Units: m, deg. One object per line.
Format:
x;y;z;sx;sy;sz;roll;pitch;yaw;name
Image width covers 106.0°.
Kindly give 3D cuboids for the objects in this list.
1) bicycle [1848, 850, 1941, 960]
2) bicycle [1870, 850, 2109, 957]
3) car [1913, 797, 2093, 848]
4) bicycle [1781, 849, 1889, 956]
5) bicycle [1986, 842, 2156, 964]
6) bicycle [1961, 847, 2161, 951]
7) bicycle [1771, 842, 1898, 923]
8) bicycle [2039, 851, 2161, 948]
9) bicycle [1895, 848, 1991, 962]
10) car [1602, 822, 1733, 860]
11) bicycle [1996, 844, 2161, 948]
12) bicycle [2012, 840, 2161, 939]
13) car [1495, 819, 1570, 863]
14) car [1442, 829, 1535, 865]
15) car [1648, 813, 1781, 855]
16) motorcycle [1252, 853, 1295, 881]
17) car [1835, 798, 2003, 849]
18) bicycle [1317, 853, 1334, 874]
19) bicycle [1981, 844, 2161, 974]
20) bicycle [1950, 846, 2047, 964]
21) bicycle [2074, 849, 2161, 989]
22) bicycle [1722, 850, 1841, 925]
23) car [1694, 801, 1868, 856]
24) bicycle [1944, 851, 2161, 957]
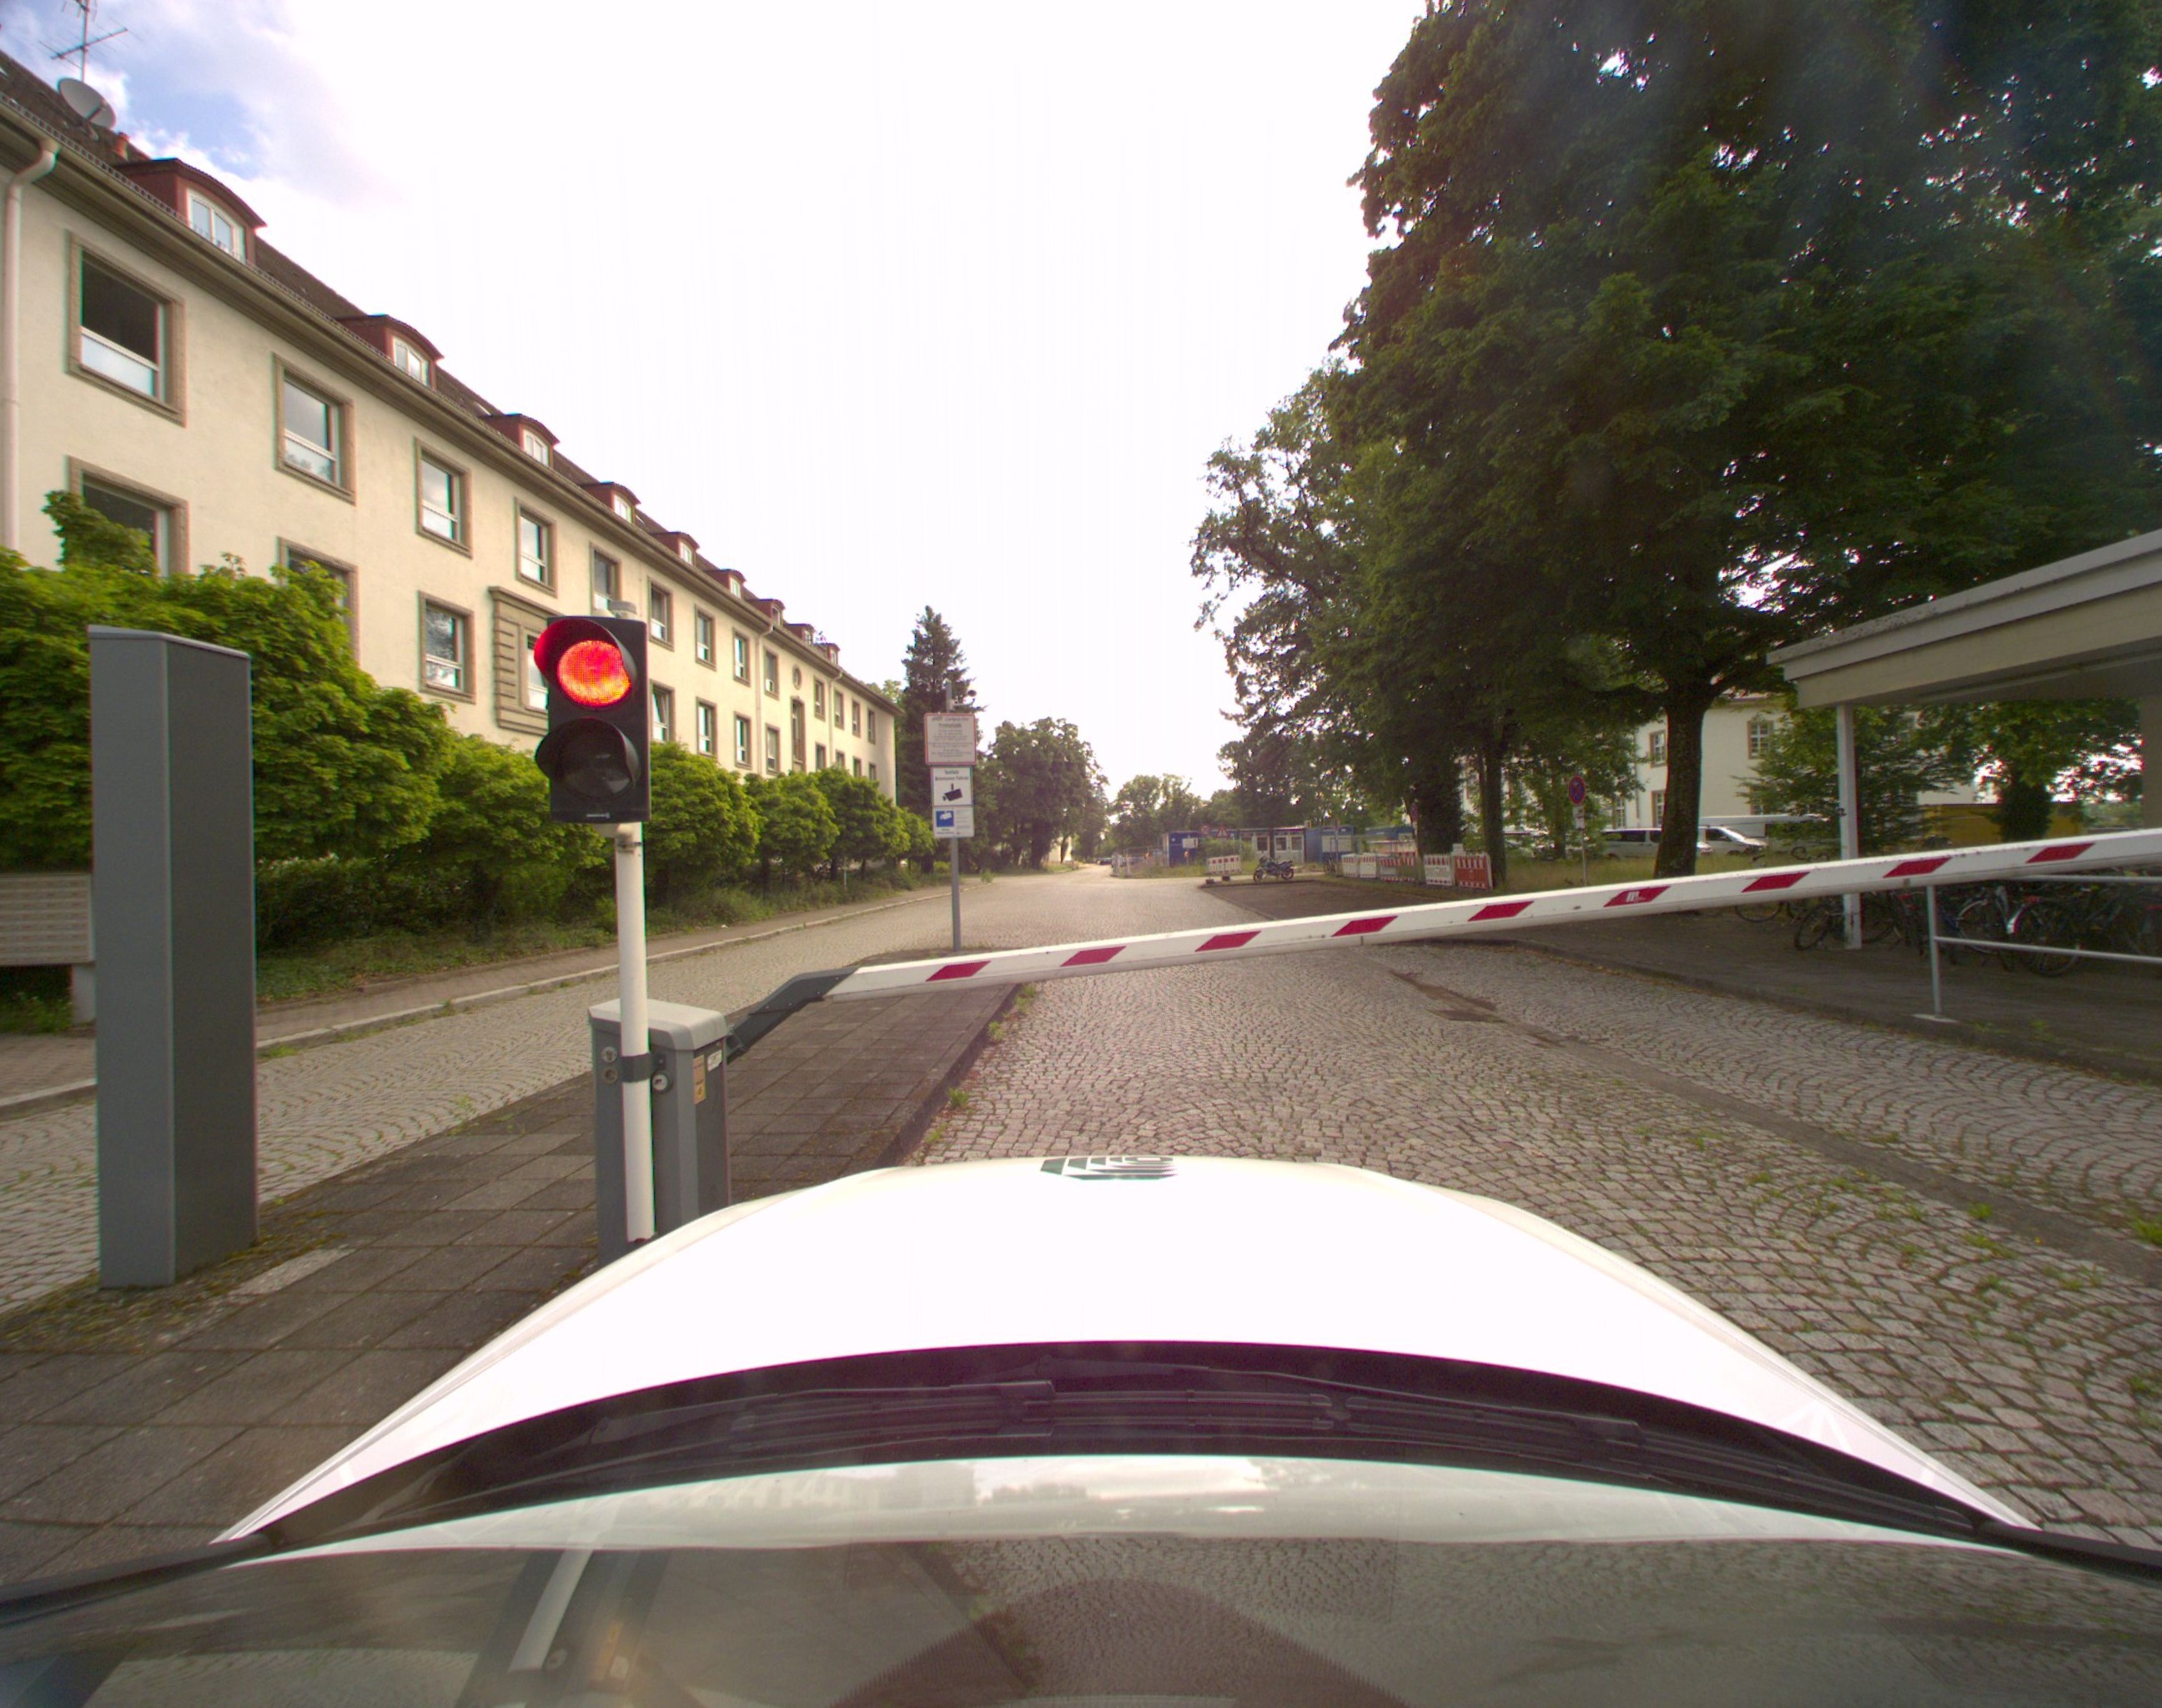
9.357;0.564;9.355;1.387;1.171;0.355;-1;-3;-30;bicycle
10.450;0.530;9.461;0.446;1.119;1.785;-1;0;-23;bicycle
44.285;-1.431;39.400;2.431;1.957;5.698;-2;-2;4;car
9.149;0.563;9.870;1.386;1.171;0.430;-3;-2;-27;bicycle
10.151;0.491;8.362;1.377;1.171;0.358;-2;-3;-7;bicycle
11.395;0.491;9.307;0.371;1.081;1.893;-2;-2;-8;bicycle
11.676;0.442;12.688;0.502;1.171;1.555;-2;-2;2;bicycle
12.188;0.505;9.149;0.371;1.083;1.892;-2;-2;-8;bicycle
9.525;0.541;8.989;1.387;1.171;0.355;-1;-3;-30;bicycle
28.494;-0.586;39.745;2.004;1.650;4.799;-1;-1;-26;car
11.776;0.453;9.274;0.371;1.119;1.893;-2;0;-8;bicycle
12.634;0.420;9.916;0.370;1.128;1.898;-2;-2;1;bicycle
27.424;-0.717;49.711;1.984;2.424;5.365;-2;-1;6;car
22.895;-0.371;45.884;4.201;1.820;2.002;-2;-1;4;car
31.153;-0.949;40.237;2.004;1.789;4.799;-1;-1;-26;car
9.446;0.640;40.035;1.950;1.194;0.461;-3;4;0;motorcycle
40.427;-1.380;39.580;2.431;1.957;5.698;-2;-2;4;car
12.452;0.481;41.504;0.330;1.008;1.726;-2;-2;2;bicycle
9.859;0.516;7.944;1.796;1.171;0.358;-2;-2;-4;bicycle
9.801;0.520;8.692;1.387;1.171;0.355;-1;-3;-30;bicycle
9.878;0.540;7.356;1.749;1.171;0.494;-2;-3;-18;bicycle
11.076;0.490;12.934;0.502;1.086;1.585;-2;1;0;bicycle
34.277;-1.178;40.172;2.005;2.308;6.142;-1;-1;-29;car
11.047;0.514;9.191;0.371;1.067;1.907;-2;0;-8;bicycle
